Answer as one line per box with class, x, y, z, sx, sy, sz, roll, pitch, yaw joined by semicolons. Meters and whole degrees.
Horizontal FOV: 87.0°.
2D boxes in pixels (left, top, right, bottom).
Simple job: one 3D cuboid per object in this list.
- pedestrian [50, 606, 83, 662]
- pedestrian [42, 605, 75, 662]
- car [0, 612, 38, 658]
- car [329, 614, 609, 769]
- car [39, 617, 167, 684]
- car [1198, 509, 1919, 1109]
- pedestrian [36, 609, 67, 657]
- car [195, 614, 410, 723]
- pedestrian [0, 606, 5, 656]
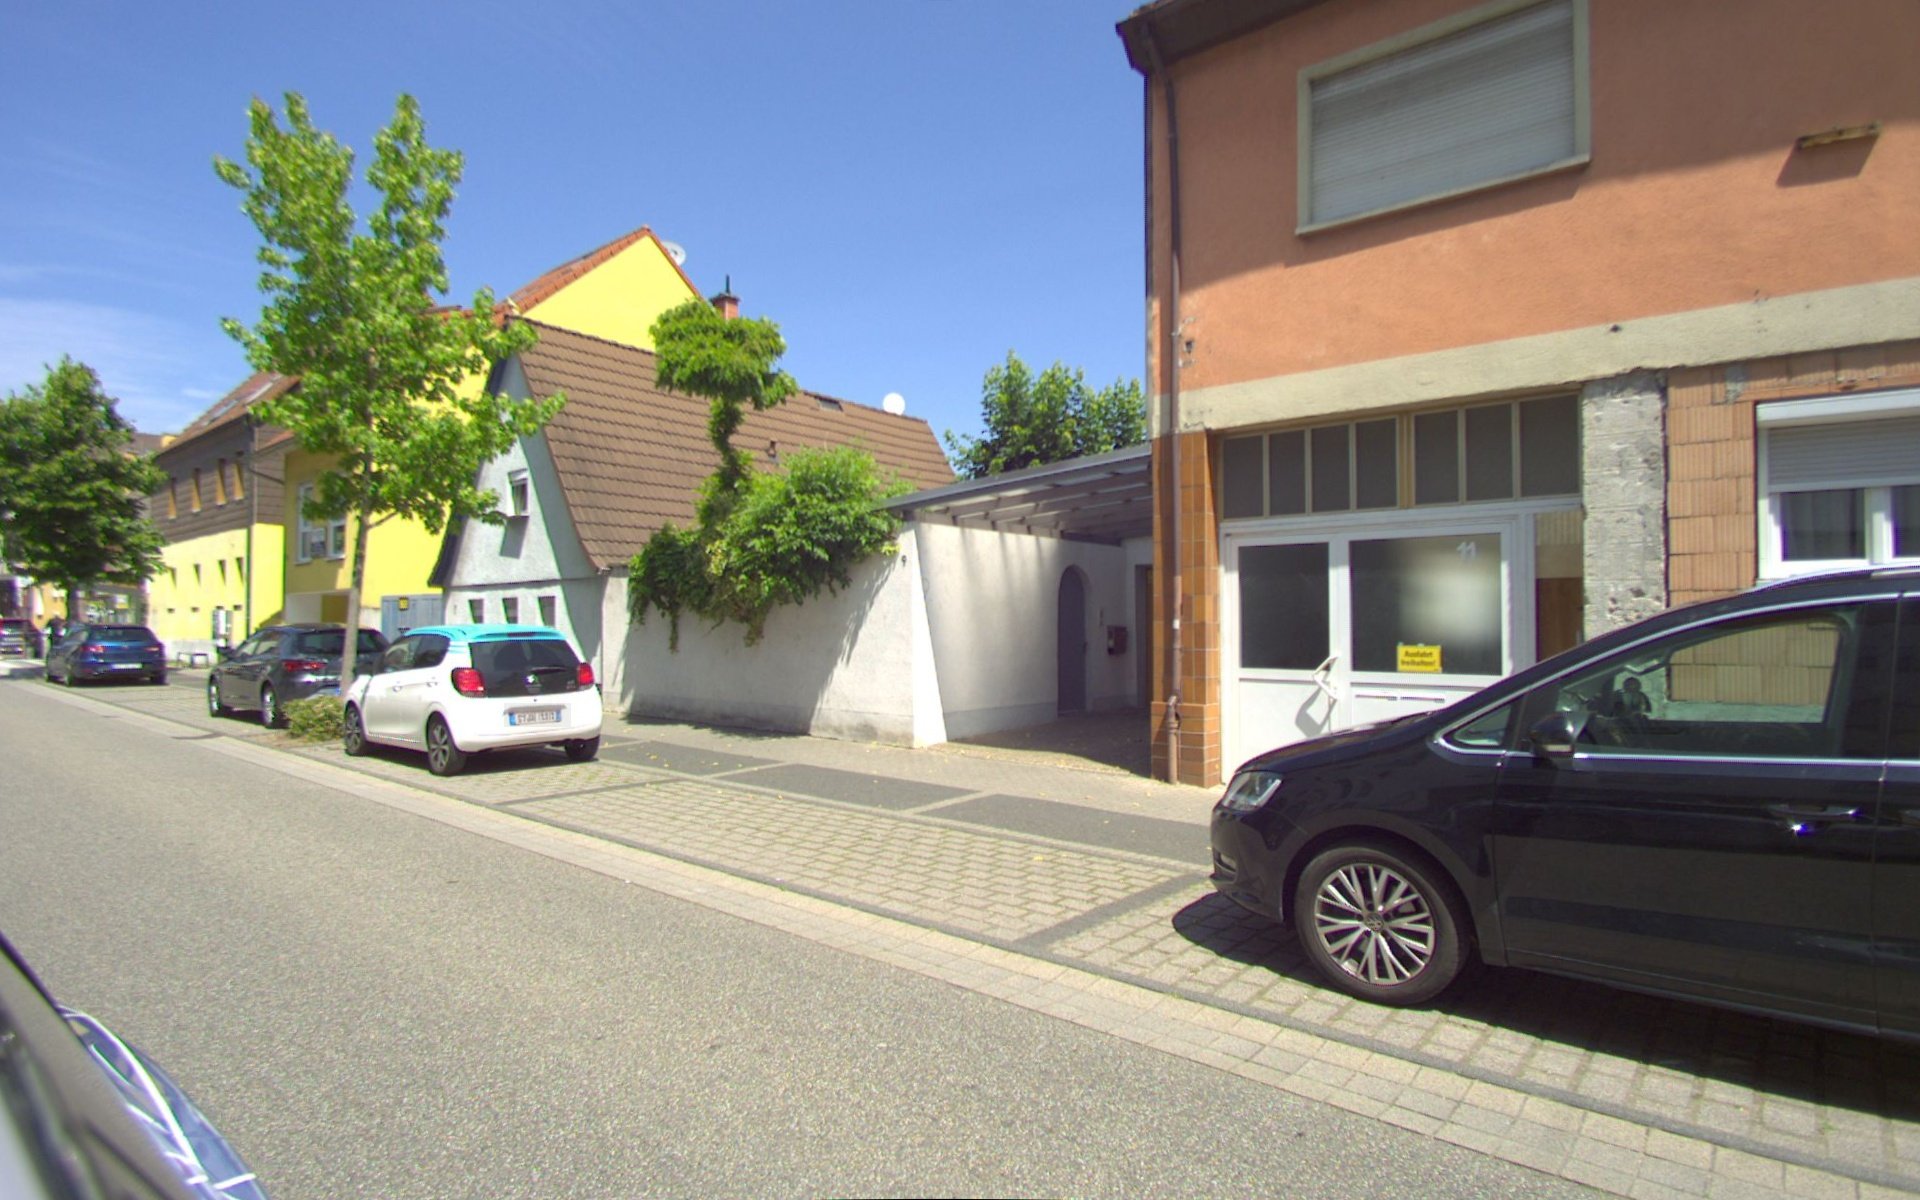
pedestrian;-26.323;0.995;29.821;0.528;1.613;0.623;-1;-2;41
pedestrian;-25.851;0.944;29.028;0.528;1.613;0.623;-1;-2;41
car;-34.645;1.221;36.390;4.155;1.587;1.731;-1;-1;41
car;-5.465;0.894;11.123;3.408;1.441;1.537;-1;-2;41
car;-19.984;1.121;23.554;4.155;1.418;1.639;-1;-2;41
car;3.325;0.621;3.645;4.516;1.739;1.757;-1;-2;40
pedestrian;-30.915;1.113;34.438;0.770;1.613;0.655;-1;-2;41
car;-10.048;0.962;15.346;4.096;1.441;1.628;-1;-3;41
pedestrian;-32.054;1.025;33.437;0.624;1.668;0.635;-1;-3;40
